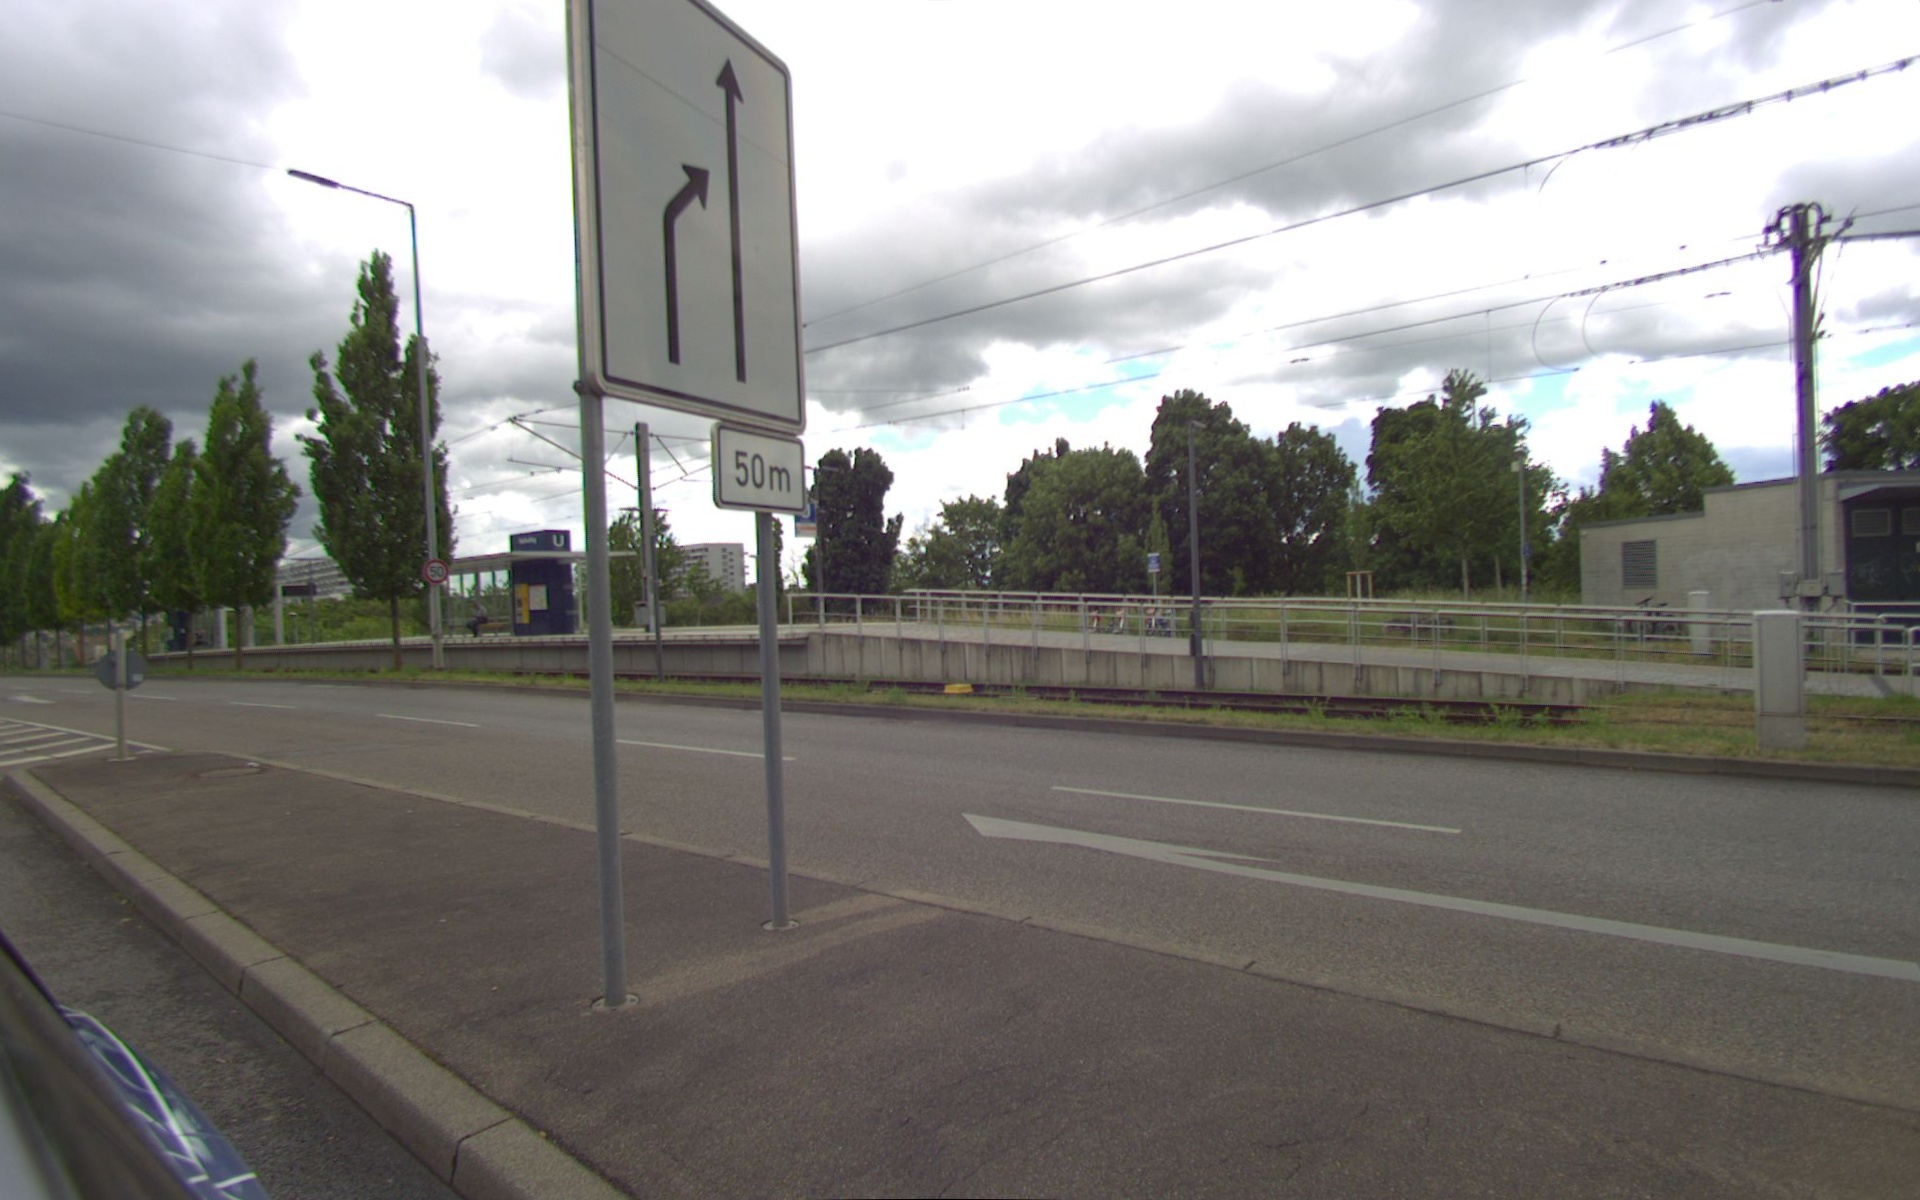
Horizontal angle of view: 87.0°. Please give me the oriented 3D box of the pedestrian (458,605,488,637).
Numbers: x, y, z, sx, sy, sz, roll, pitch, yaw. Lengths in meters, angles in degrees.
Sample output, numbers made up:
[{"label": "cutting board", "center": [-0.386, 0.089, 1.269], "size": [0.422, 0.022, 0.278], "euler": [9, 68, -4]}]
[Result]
[{"label": "pedestrian", "center": [-18.305, 0.796, 38.049], "size": [0.837, 1.184, 0.741], "euler": [-1, 0, 40]}]

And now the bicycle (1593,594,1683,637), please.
[{"label": "bicycle", "center": [18.208, 0.406, 27.248], "size": [0.668, 1.114, 2.260], "euler": [-1, 0, -7]}]
